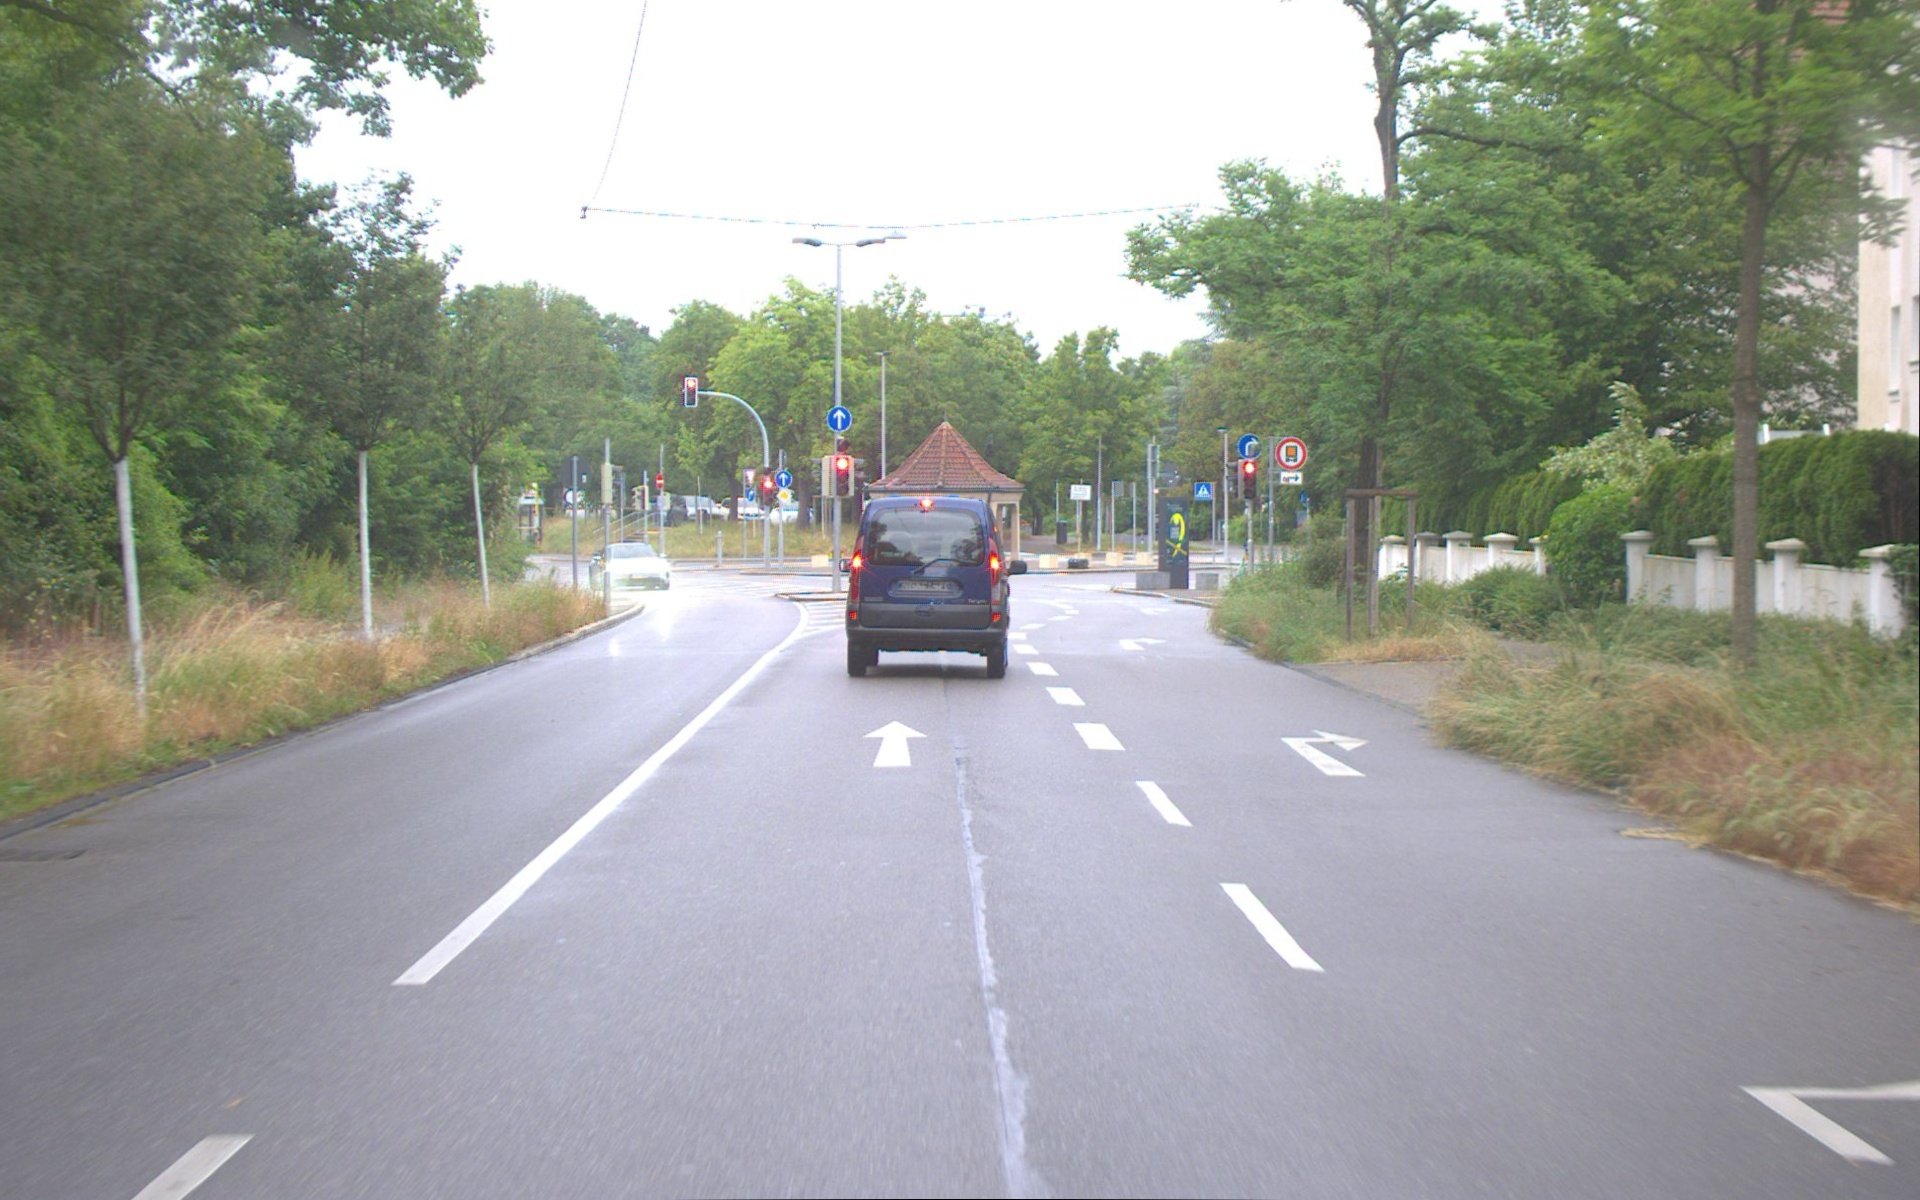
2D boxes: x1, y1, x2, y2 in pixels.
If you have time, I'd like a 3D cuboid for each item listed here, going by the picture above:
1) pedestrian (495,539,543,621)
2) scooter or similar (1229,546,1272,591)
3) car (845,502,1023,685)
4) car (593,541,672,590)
[{"bbox_3d":[-10.973,-0.491,85.546,1.088,2.007,1.000,1,0,-4],"label":"pedestrian"},{"bbox_3d":[7.926,-0.851,93.753,1.149,1.215,0.406,0,0,1],"label":"scooter or similar"},{"bbox_3d":[-0.287,-0.107,36.051,1.731,1.780,4.000,1,1,-1],"label":"car"},{"bbox_3d":[-9.678,-1.024,101.360,1.993,1.307,4.361,-3,2,-9],"label":"car"}]
